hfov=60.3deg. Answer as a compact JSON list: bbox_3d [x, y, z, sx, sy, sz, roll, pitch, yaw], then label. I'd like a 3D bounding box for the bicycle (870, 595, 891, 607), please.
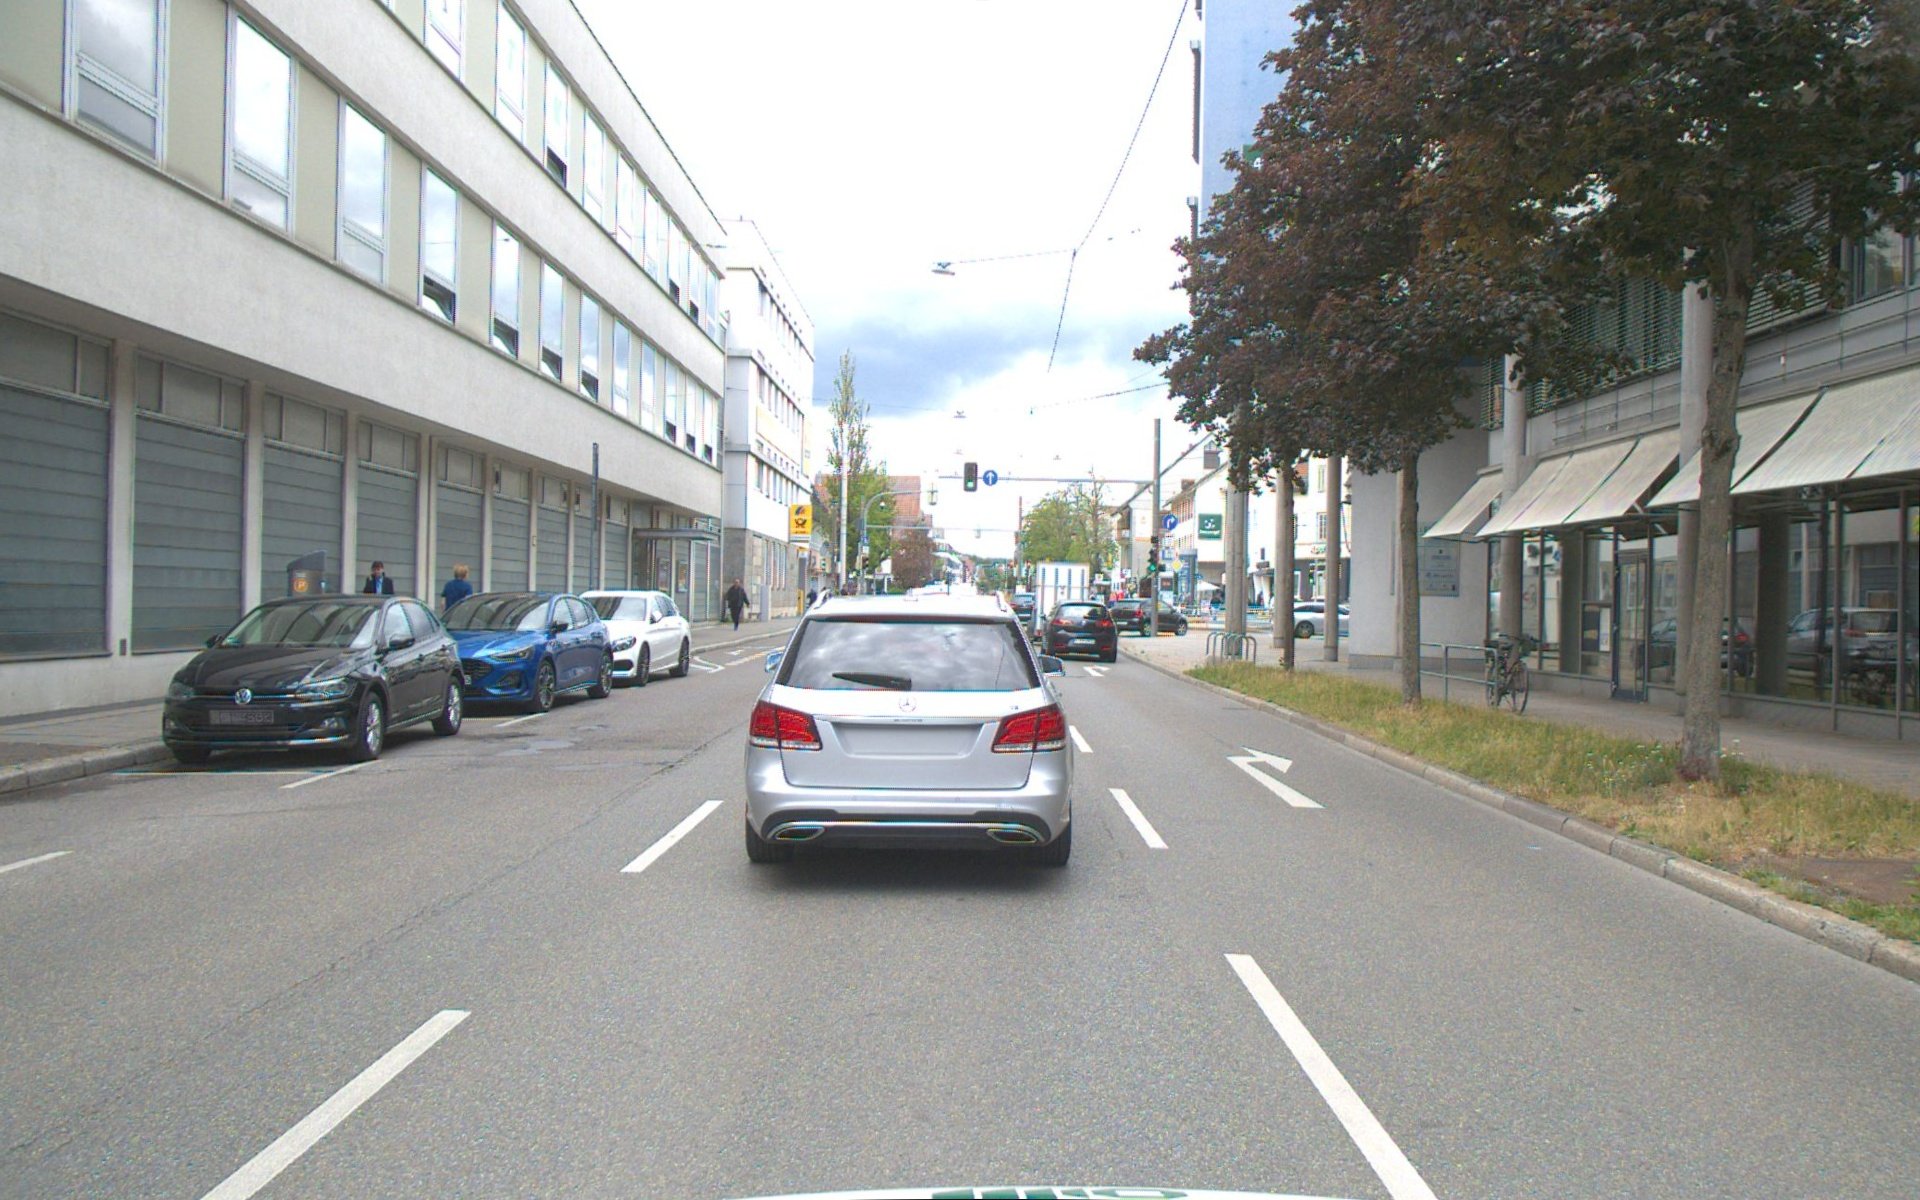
[{"bbox_3d":[-7.321,0.101,152.514,1.902,1.047,0.529,2,0,-9],"label":"bicycle"}]

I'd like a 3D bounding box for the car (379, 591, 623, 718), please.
[{"bbox_3d":[-5.757,0.618,21.289,1.777,1.450,4.265,-1,0,2],"label":"car"}]

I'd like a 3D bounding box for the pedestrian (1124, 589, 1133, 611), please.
[{"bbox_3d":[13.484,-0.007,132.435,0.567,1.695,0.649,2,0,-11],"label":"pedestrian"}]

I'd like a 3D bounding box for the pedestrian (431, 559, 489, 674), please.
[{"bbox_3d":[-7.739,0.245,25.646,0.577,1.748,1.055,1,0,-1],"label":"pedestrian"}]

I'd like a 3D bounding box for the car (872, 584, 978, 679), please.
[{"bbox_3d":[-0.615,0.498,28.884,1.699,1.534,3.999,1,0,-1],"label":"car"}]

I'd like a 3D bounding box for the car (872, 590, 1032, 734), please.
[{"bbox_3d":[-0.024,0.656,19.786,1.698,1.534,4.001,1,0,2],"label":"car"}]

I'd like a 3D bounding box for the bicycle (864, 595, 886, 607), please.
[{"bbox_3d":[-7.670,0.097,148.533,1.902,1.047,0.529,2,0,-9],"label":"bicycle"}]

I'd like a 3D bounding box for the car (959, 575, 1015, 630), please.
[{"bbox_3d":[0.909,0.065,57.664,1.791,1.816,3.999,1,0,-1],"label":"car"}]

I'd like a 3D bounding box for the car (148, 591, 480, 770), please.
[{"bbox_3d":[-5.899,0.657,15.609,1.681,1.450,3.869,-1,0,-1],"label":"car"}]

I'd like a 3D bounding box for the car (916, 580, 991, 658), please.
[{"bbox_3d":[-0.195,0.424,39.994,1.699,1.790,3.999,1,0,-1],"label":"car"}]

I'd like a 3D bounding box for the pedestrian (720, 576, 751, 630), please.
[{"bbox_3d":[-7.449,0.102,55.023,0.844,1.748,1.031,2,0,-2],"label":"pedestrian"}]

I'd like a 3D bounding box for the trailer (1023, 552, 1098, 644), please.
[{"bbox_3d":[3.072,-0.070,51.478,1.840,2.658,4.322,3,0,-1],"label":"trailer"}]

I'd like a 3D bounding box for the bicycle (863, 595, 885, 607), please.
[{"bbox_3d":[-7.796,0.091,149.194,1.902,1.047,0.529,2,0,-9],"label":"bicycle"}]

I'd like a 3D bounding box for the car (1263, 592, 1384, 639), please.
[{"bbox_3d":[14.882,0.636,67.863,4.460,1.633,1.737,3,0,-8],"label":"car"}]

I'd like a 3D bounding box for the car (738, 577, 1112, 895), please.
[{"bbox_3d":[-0.212,0.654,10.147,1.808,1.534,4.170,1,0,-1],"label":"car"}]

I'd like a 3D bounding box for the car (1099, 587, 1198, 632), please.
[{"bbox_3d":[7.358,0.370,64.417,3.769,1.699,1.898,0,0,-44],"label":"car"}]

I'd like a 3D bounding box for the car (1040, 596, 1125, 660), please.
[{"bbox_3d":[2.958,0.642,40.690,1.699,1.435,3.999,1,1,-1],"label":"car"}]

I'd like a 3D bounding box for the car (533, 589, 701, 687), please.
[{"bbox_3d":[-5.550,0.565,27.294,1.635,1.459,4.554,-1,0,2],"label":"car"}]

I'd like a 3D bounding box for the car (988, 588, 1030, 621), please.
[{"bbox_3d":[2.183,0.183,74.432,1.699,1.435,3.999,1,1,-1],"label":"car"}]

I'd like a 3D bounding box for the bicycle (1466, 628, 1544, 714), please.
[{"bbox_3d":[7.710,0.983,23.468,0.353,1.105,2.027,2,0,-1],"label":"bicycle"}]

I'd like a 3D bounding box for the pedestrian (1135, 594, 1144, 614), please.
[{"bbox_3d":[14.029,0.300,129.305,0.566,1.495,0.651,2,0,-1],"label":"pedestrian"}]

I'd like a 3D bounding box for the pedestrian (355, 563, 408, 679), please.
[{"bbox_3d":[-8.903,0.318,25.486,0.577,1.748,0.649,1,0,-2],"label":"pedestrian"}]

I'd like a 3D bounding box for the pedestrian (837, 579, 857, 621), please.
[{"bbox_3d":[-4.722,0.005,69.254,0.634,1.748,0.783,2,0,8],"label":"pedestrian"}]

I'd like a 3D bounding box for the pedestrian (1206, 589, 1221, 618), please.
[{"bbox_3d":[15.358,0.204,100.236,0.638,1.748,0.700,1,0,41],"label":"pedestrian"}]
